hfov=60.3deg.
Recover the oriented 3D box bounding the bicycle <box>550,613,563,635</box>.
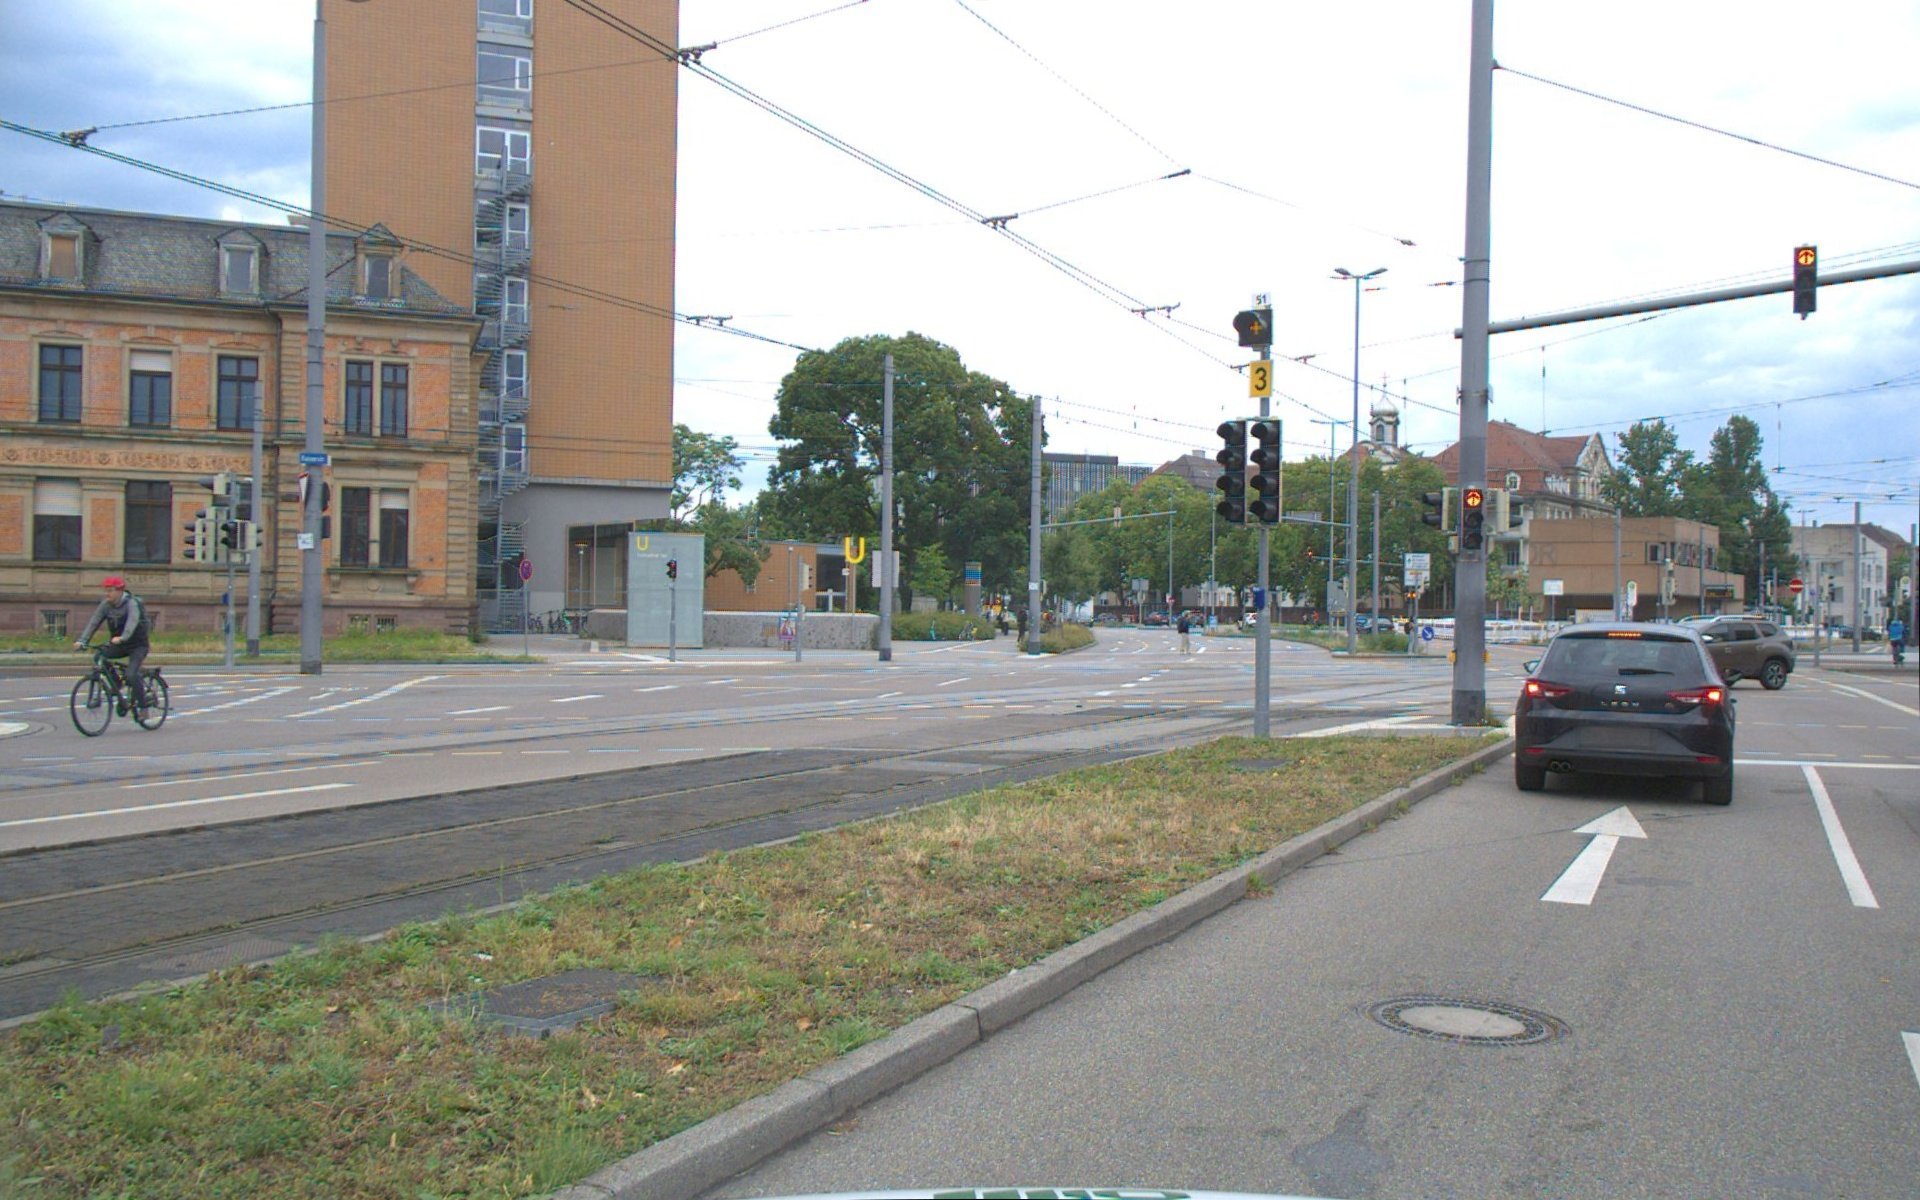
[{"bbox_3d":[-20.036,1.173,82.112,0.500,1.067,1.421,1,0,-17],"label":"bicycle"}]

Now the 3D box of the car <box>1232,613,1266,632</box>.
[{"bbox_3d":[24.602,1.921,140.912,1.742,1.489,3.993,1,0,-8],"label":"car"}]

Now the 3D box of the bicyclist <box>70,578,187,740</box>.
[{"bbox_3d":[-10.114,0.704,20.157,0.811,1.925,1.050,-1,0,7],"label":"bicyclist"}]

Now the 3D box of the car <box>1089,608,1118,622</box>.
[{"bbox_3d":[16.014,1.678,184.393,1.749,1.489,3.979,1,0,-19],"label":"car"}]

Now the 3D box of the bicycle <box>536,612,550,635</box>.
[{"bbox_3d":[-20.659,1.163,81.906,0.561,1.125,1.421,1,0,-17],"label":"bicycle"}]

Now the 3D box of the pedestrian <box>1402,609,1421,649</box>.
[{"bbox_3d":[18.083,1.167,66.281,0.712,1.569,0.418,0,0,13],"label":"pedestrian"}]

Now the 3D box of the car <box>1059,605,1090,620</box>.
[{"bbox_3d":[11.400,1.211,165.279,1.749,1.489,3.978,1,0,-19],"label":"car"}]

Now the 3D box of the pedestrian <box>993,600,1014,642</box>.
[{"bbox_3d":[2.112,1.019,79.831,0.909,1.982,0.913,1,0,6],"label":"pedestrian"}]

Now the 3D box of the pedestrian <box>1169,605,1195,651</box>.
[{"bbox_3d":[9.617,1.212,71.691,1.006,1.968,0.701,0,0,0],"label":"pedestrian"}]

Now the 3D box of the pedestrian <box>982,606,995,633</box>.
[{"bbox_3d":[2.115,1.486,124.372,0.859,2.016,0.796,1,-2,7],"label":"pedestrian"}]

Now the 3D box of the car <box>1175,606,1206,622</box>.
[{"bbox_3d":[22.284,1.326,160.064,1.744,1.489,3.991,1,0,-10],"label":"car"}]

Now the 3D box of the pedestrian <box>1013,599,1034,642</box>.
[{"bbox_3d":[3.051,0.988,79.389,0.909,2.049,1.012,1,-2,5],"label":"pedestrian"}]

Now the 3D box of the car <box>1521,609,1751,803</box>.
[{"bbox_3d":[5.999,0.830,14.853,1.669,1.474,3.812,1,0,21],"label":"car"}]

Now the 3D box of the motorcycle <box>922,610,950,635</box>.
[{"bbox_3d":[-1.275,1.196,88.231,1.446,1.290,0.508,1,0,-21],"label":"motorcycle"}]

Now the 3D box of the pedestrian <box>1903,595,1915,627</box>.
[{"bbox_3d":[57.855,0.662,100.836,0.609,1.952,0.709,0,-1,28],"label":"pedestrian"}]

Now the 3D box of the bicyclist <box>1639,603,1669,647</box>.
[{"bbox_3d":[27.924,0.999,66.567,0.864,1.762,0.895,1,0,4],"label":"bicyclist"}]

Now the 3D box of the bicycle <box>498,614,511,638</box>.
[{"bbox_3d":[-22.395,1.266,81.280,0.561,1.125,1.421,1,0,-17],"label":"bicycle"}]

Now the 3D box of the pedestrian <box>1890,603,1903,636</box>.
[{"bbox_3d":[56.423,1.178,99.635,0.610,1.952,0.696,0,-1,35],"label":"pedestrian"}]

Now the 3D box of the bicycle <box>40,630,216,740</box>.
[{"bbox_3d":[-10.110,1.006,20.213,0.806,1.229,2.236,-1,0,7],"label":"bicycle"}]

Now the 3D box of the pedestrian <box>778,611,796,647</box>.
[{"bbox_3d":[-6.615,1.121,63.205,0.565,1.359,0.495,1,-1,-25],"label":"pedestrian"}]

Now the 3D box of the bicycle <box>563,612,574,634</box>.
[{"bbox_3d":[-19.497,1.158,82.349,0.473,1.067,1.421,1,0,-17],"label":"bicycle"}]

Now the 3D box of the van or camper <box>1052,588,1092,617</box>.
[{"bbox_3d":[12.520,0.244,185.181,2.355,3.179,5.464,1,0,-23],"label":"van or camper"}]

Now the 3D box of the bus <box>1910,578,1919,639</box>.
[{"bbox_3d":[53.945,0.498,89.212,2.914,3.178,11.480,0,0,39],"label":"bus"}]

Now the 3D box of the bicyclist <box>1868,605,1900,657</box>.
[{"bbox_3d":[33.965,1.118,60.830,0.853,1.884,1.048,0,0,20],"label":"bicyclist"}]

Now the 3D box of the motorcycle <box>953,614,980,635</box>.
[{"bbox_3d":[0.376,1.325,89.573,0.502,1.131,1.737,0,0,38],"label":"motorcycle"}]

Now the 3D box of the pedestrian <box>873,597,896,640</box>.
[{"bbox_3d":[-3.624,0.908,79.638,0.999,2.049,0.847,0,0,6],"label":"pedestrian"}]

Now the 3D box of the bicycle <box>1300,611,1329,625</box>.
[{"bbox_3d":[31.481,1.622,146.897,2.699,1.199,0.930,1,0,-37],"label":"bicycle"}]

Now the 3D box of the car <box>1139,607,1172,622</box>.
[{"bbox_3d":[19.866,1.480,168.064,1.750,1.489,3.976,1,0,-20],"label":"car"}]

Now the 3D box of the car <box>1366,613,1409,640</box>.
[{"bbox_3d":[27.542,1.718,106.657,1.952,1.713,4.001,1,-1,4],"label":"car"}]

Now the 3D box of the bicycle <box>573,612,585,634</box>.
[{"bbox_3d":[-19.001,1.149,82.511,0.473,1.067,1.421,1,0,-17],"label":"bicycle"}]

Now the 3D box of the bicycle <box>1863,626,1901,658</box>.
[{"bbox_3d":[33.755,1.521,60.596,0.848,1.124,2.302,1,0,20],"label":"bicycle"}]

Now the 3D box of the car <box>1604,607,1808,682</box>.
[{"bbox_3d":[17.401,1.025,38.639,4.144,1.668,1.797,1,0,-14],"label":"car"}]

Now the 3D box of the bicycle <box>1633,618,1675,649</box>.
[{"bbox_3d":[27.915,1.347,66.569,0.873,1.199,2.303,1,0,4],"label":"bicycle"}]

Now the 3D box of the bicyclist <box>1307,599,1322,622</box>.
[{"bbox_3d":[31.458,0.947,146.899,0.968,2.049,0.928,1,0,-36],"label":"bicyclist"}]

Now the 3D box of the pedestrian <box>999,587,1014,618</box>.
[{"bbox_3d":[3.017,0.181,107.824,0.779,2.016,0.879,1,-2,-9],"label":"pedestrian"}]
